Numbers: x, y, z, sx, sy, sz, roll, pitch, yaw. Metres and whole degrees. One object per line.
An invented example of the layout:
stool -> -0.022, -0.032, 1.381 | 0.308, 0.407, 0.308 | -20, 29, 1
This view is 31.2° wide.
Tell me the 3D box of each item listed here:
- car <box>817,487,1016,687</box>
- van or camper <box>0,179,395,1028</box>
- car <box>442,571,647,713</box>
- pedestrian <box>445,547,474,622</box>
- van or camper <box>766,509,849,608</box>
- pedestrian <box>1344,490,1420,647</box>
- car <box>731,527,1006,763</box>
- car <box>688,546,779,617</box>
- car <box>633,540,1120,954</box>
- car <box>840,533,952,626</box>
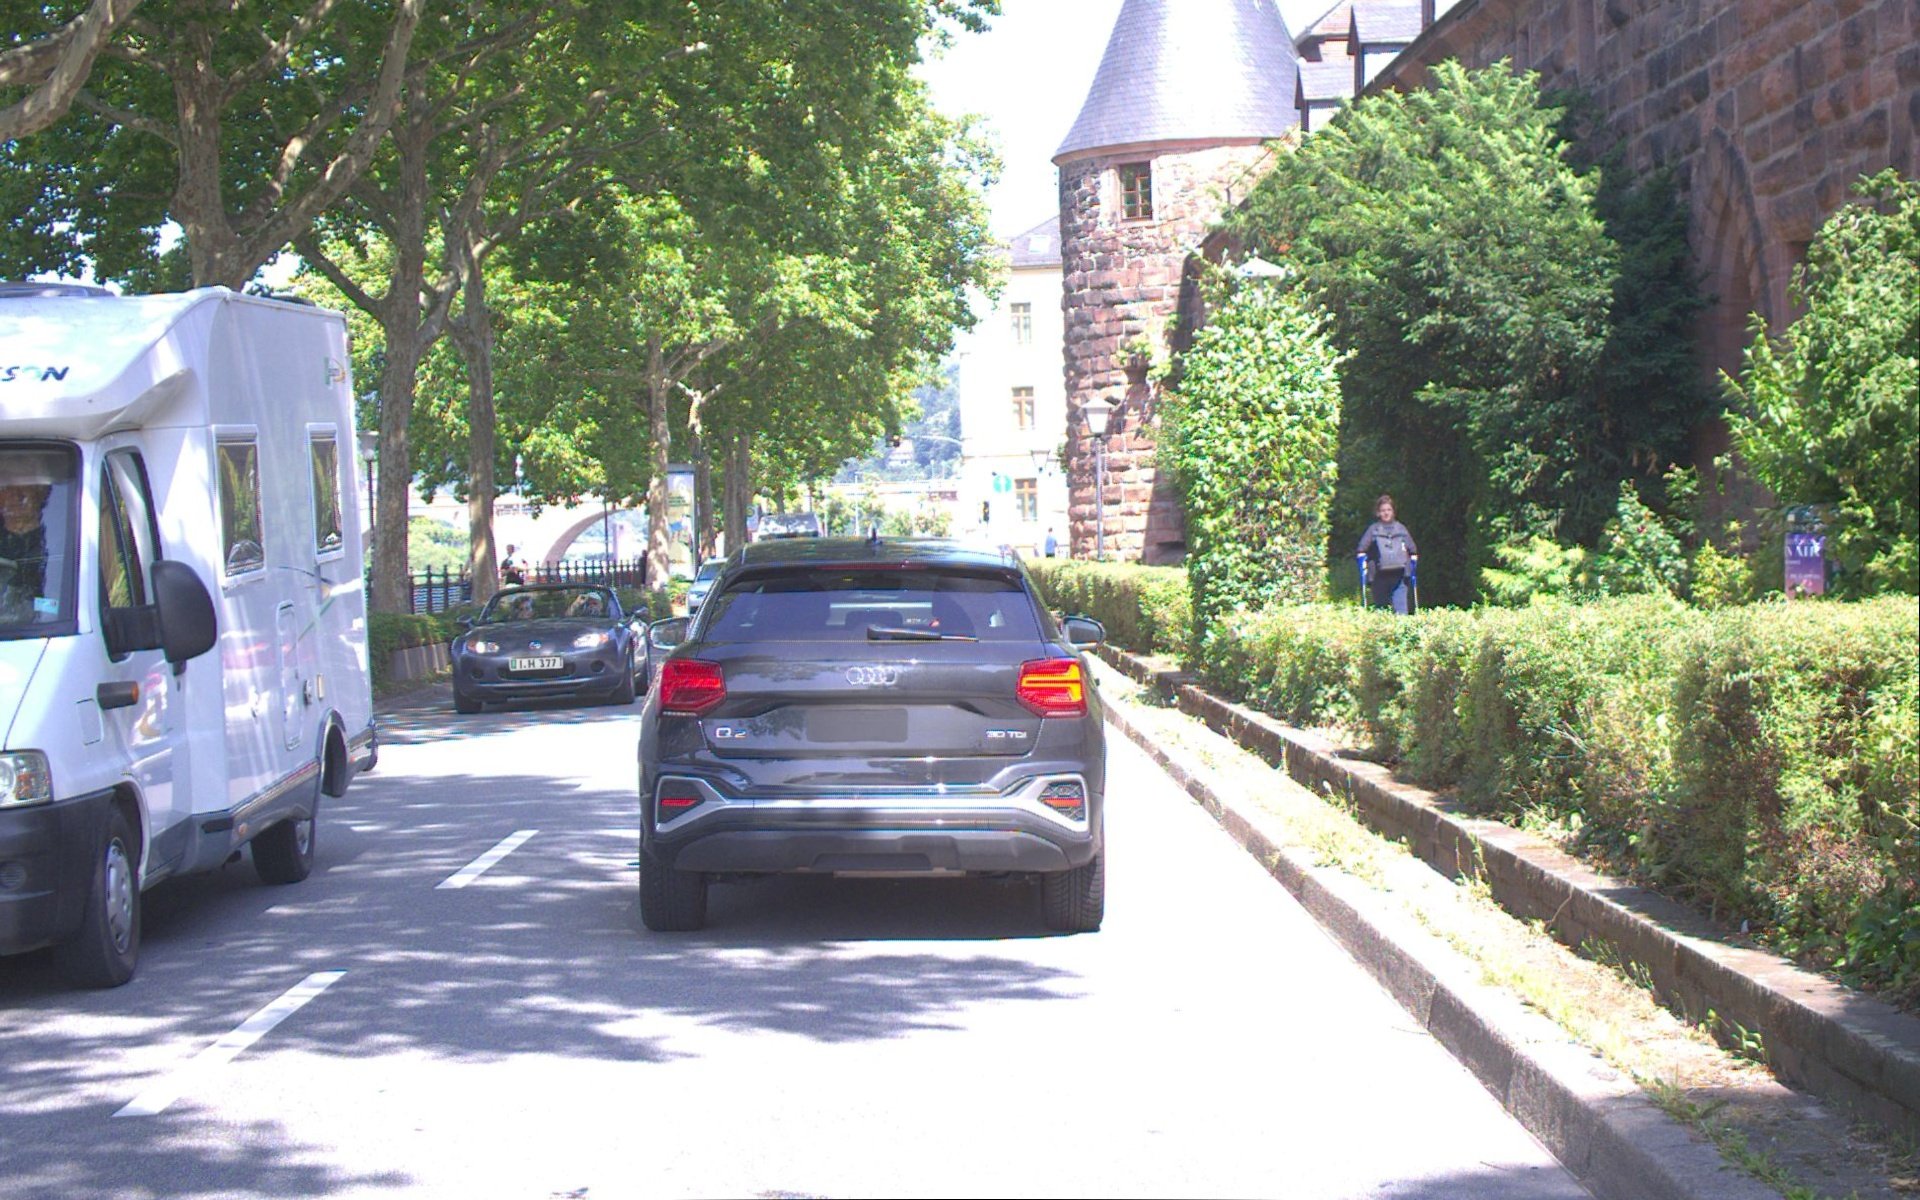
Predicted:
car -> -0.475, -0.171, 37.952 | 1.993, 2.007, 4.000 | -2, 1, -1
van or camper -> -3.989, 0.033, 13.917 | 2.322, 2.653, 6.265 | -3, 1, -1
car -> -4.047, 0.376, 33.929 | 1.698, 1.207, 3.486 | -4, 1, -3
pedestrian -> -10.516, -0.325, 72.204 | 0.457, 1.549, 0.586 | -2, 1, -1
van or camper -> -4.220, -1.156, 95.828 | 1.961, 2.558, 5.841 | -3, 1, 0
pedestrian -> 4.550, -0.341, 37.095 | 0.698, 1.647, 0.705 | -2, 1, 2
car -> -0.610, 0.273, 25.570 | 1.801, 1.557, 3.716 | -2, 1, 1
car -> -4.976, -0.426, 75.921 | 1.769, 1.452, 4.534 | -2, 1, -2
car -> -0.355, 0.504, 14.238 | 1.748, 1.489, 3.629 | 0, 1, -2
car -> -1.109, -0.357, 58.434 | 1.769, 1.452, 4.534 | -2, 1, -2
